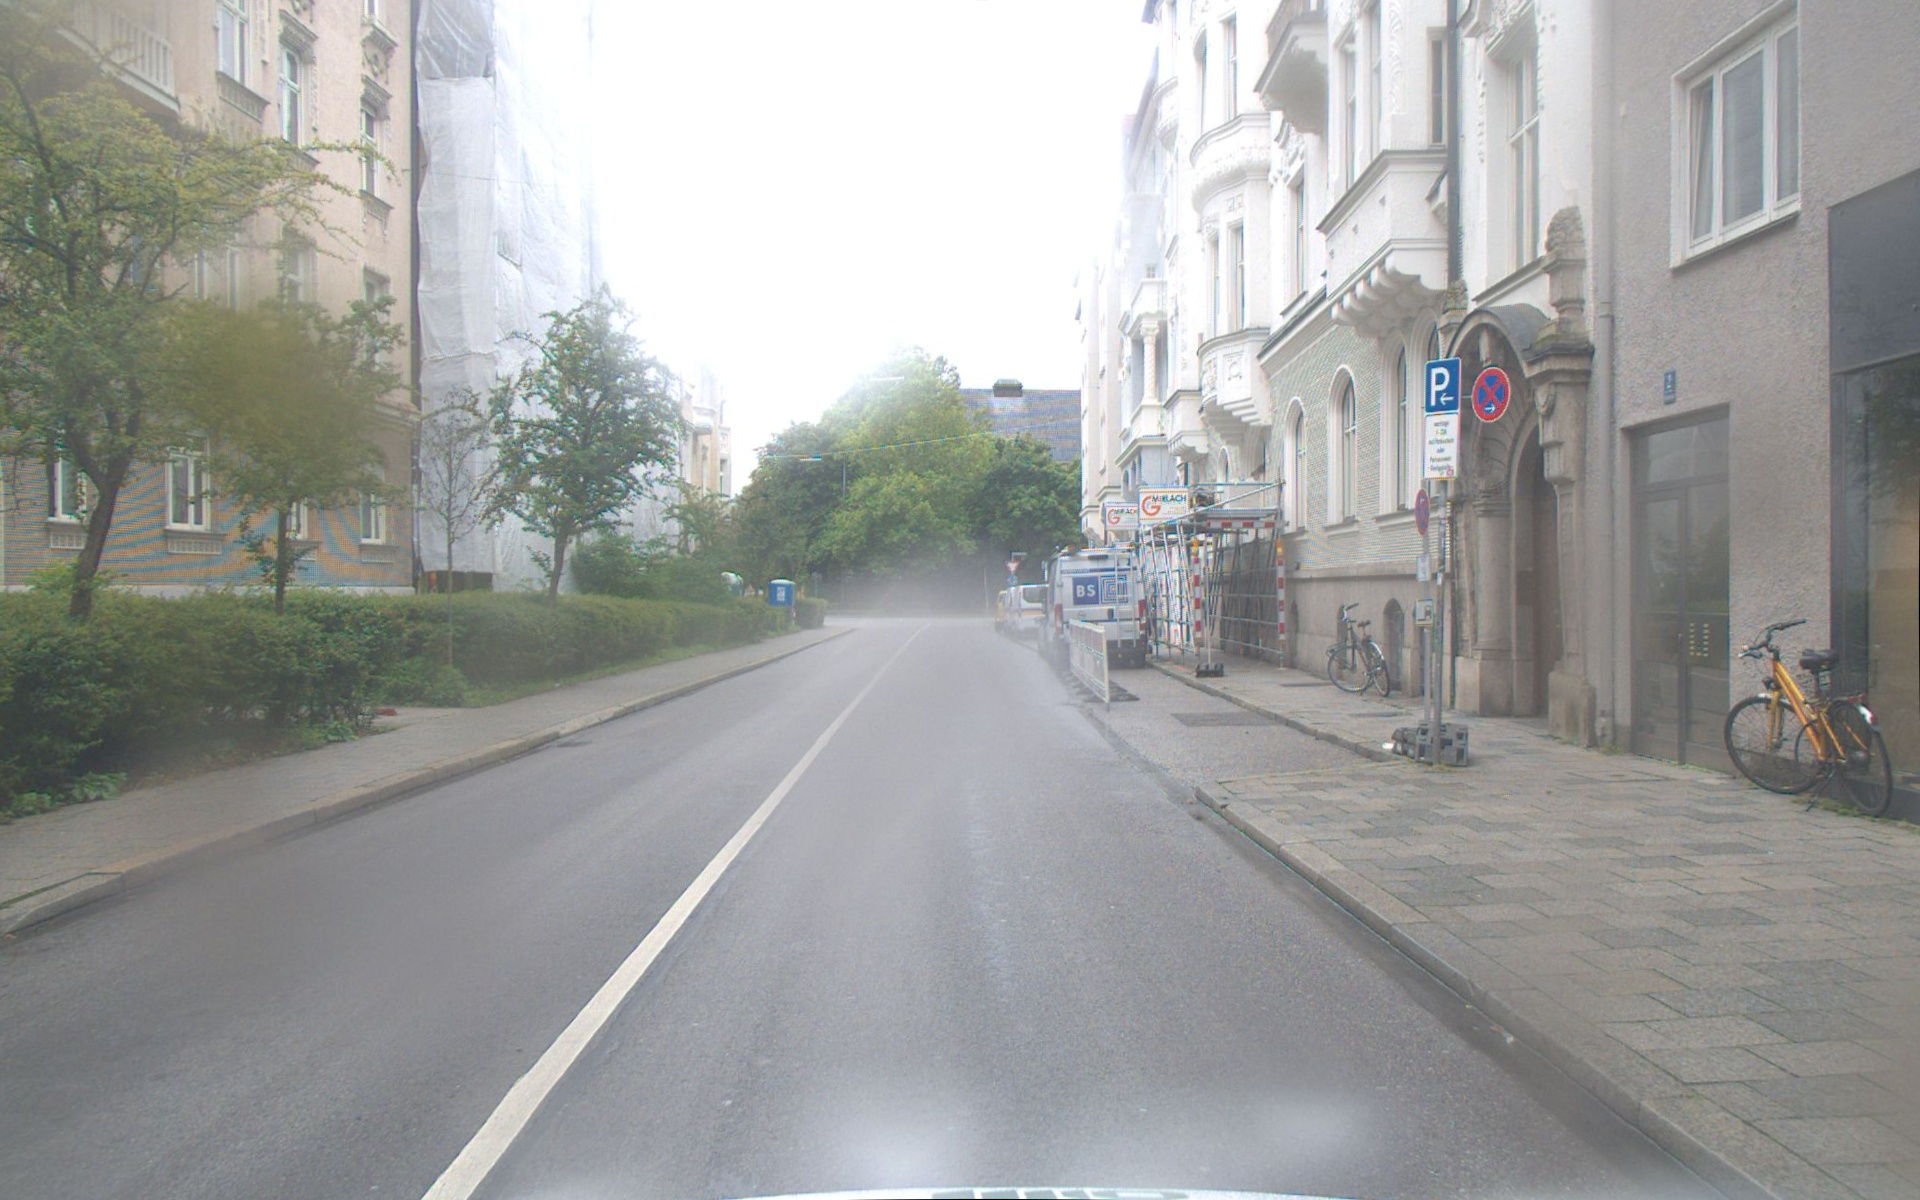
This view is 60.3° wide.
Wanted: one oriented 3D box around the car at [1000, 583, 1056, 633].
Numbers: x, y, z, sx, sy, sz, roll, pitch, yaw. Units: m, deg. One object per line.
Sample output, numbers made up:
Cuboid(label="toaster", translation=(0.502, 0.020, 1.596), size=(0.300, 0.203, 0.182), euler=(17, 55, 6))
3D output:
Cuboid(label="car", translation=(2.797, 0.324, 68.882), size=(1.920, 1.971, 4.991), euler=(-1, 0, -2))

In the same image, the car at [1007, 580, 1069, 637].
Cuboid(label="car", translation=(2.904, 0.302, 62.714), size=(1.920, 2.049, 4.991), euler=(-1, 0, -2))

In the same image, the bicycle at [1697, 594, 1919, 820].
Cuboid(label="bicycle", translation=(5.406, 0.620, 10.540), size=(0.502, 1.282, 1.819), euler=(-4, 0, -1))

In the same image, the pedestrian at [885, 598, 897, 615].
Cuboid(label="pedestrian", translation=(-5.061, 0.479, 121.239), size=(0.794, 1.210, 0.920), euler=(-1, 0, 6))

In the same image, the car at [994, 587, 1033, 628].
Cuboid(label="car", translation=(2.611, 0.347, 80.015), size=(1.812, 1.885, 4.822), euler=(0, 0, 3))

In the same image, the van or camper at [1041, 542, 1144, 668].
Cuboid(label="van or camper", translation=(2.966, 0.104, 38.104), size=(1.913, 2.683, 5.458), euler=(-1, 0, 0))

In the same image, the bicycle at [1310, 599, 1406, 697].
Cuboid(label="bicycle", translation=(5.406, 0.633, 22.577), size=(0.647, 1.227, 1.920), euler=(-4, 0, -4))
